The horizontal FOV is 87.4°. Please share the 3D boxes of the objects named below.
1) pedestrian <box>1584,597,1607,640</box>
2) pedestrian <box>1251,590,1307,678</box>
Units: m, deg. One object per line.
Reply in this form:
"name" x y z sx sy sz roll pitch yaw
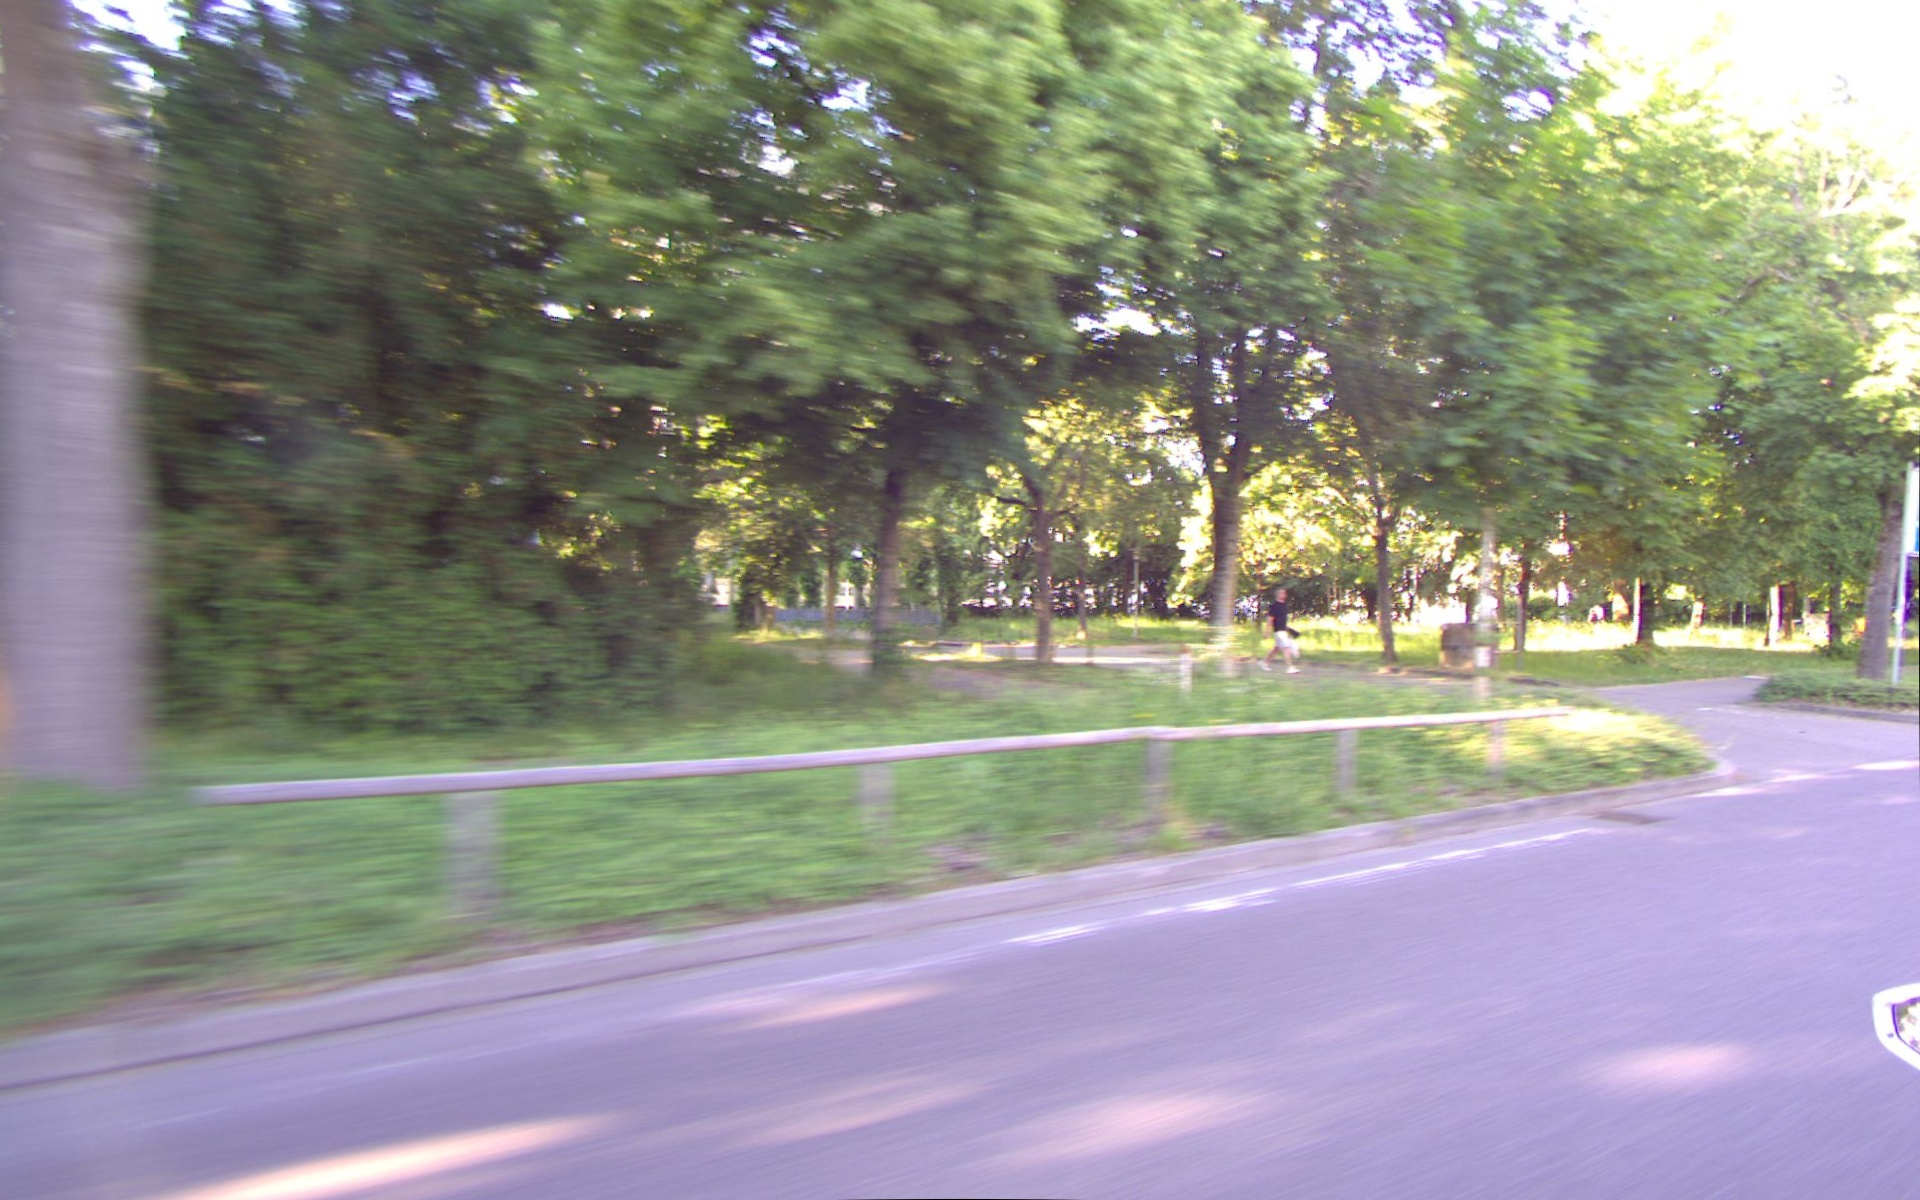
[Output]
"pedestrian" 31.109 0.902 49.185 0.584 2.040 0.751 1 1 -36
"pedestrian" 6.885 0.714 21.700 0.713 1.845 0.897 0 1 -33
